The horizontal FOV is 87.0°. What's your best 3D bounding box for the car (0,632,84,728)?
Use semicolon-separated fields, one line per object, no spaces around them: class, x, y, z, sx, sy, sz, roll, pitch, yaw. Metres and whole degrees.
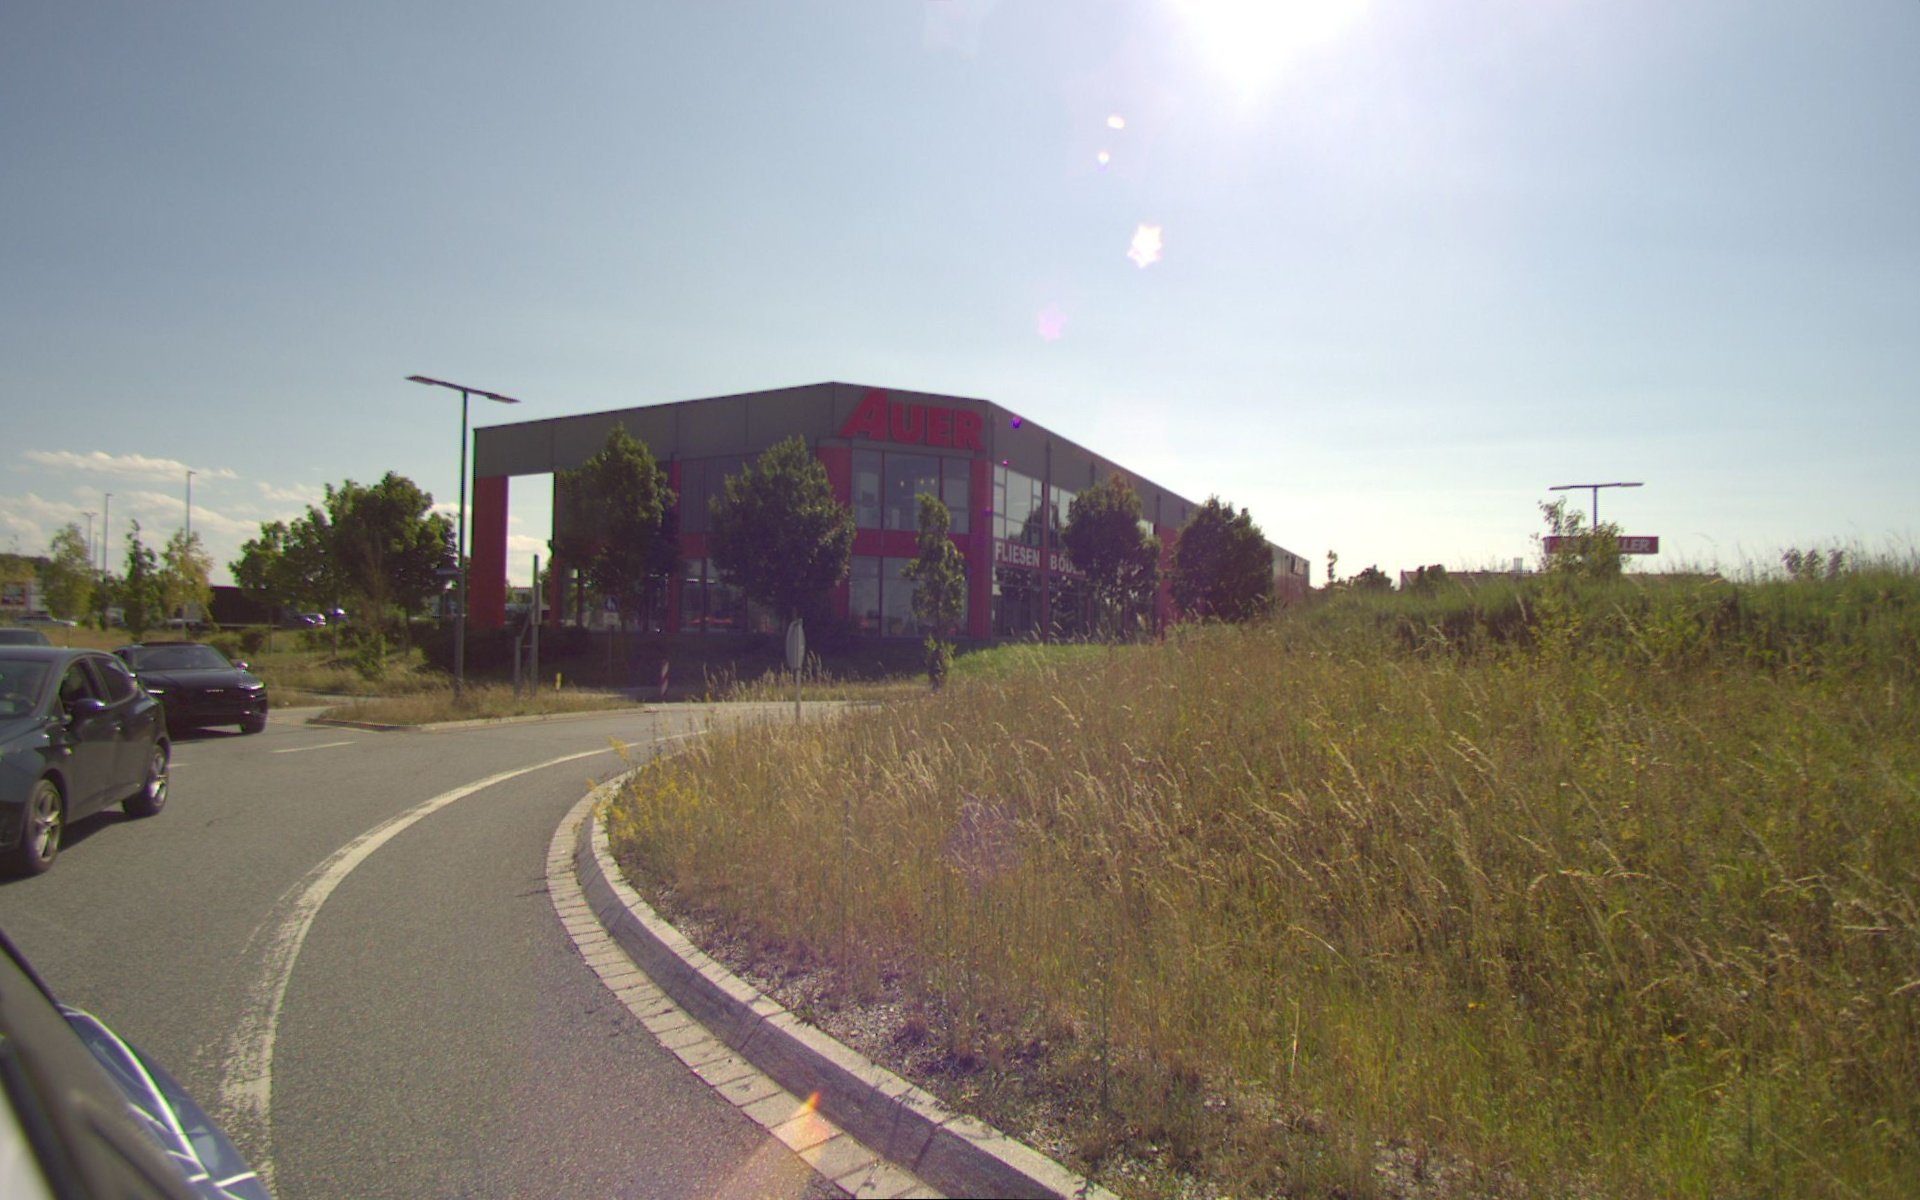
car;-23.695;1.879;24.713;4.663;2.064;2.060;0;0;30

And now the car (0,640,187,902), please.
car;-7.020;1.024;6.969;1.831;1.479;4.013;1;-2;-25

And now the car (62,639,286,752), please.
car;-14.232;1.626;18.301;3.984;1.701;1.844;0;0;30

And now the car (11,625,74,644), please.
car;-83.273;3.131;91.934;3.878;1.689;1.624;2;-3;-29
